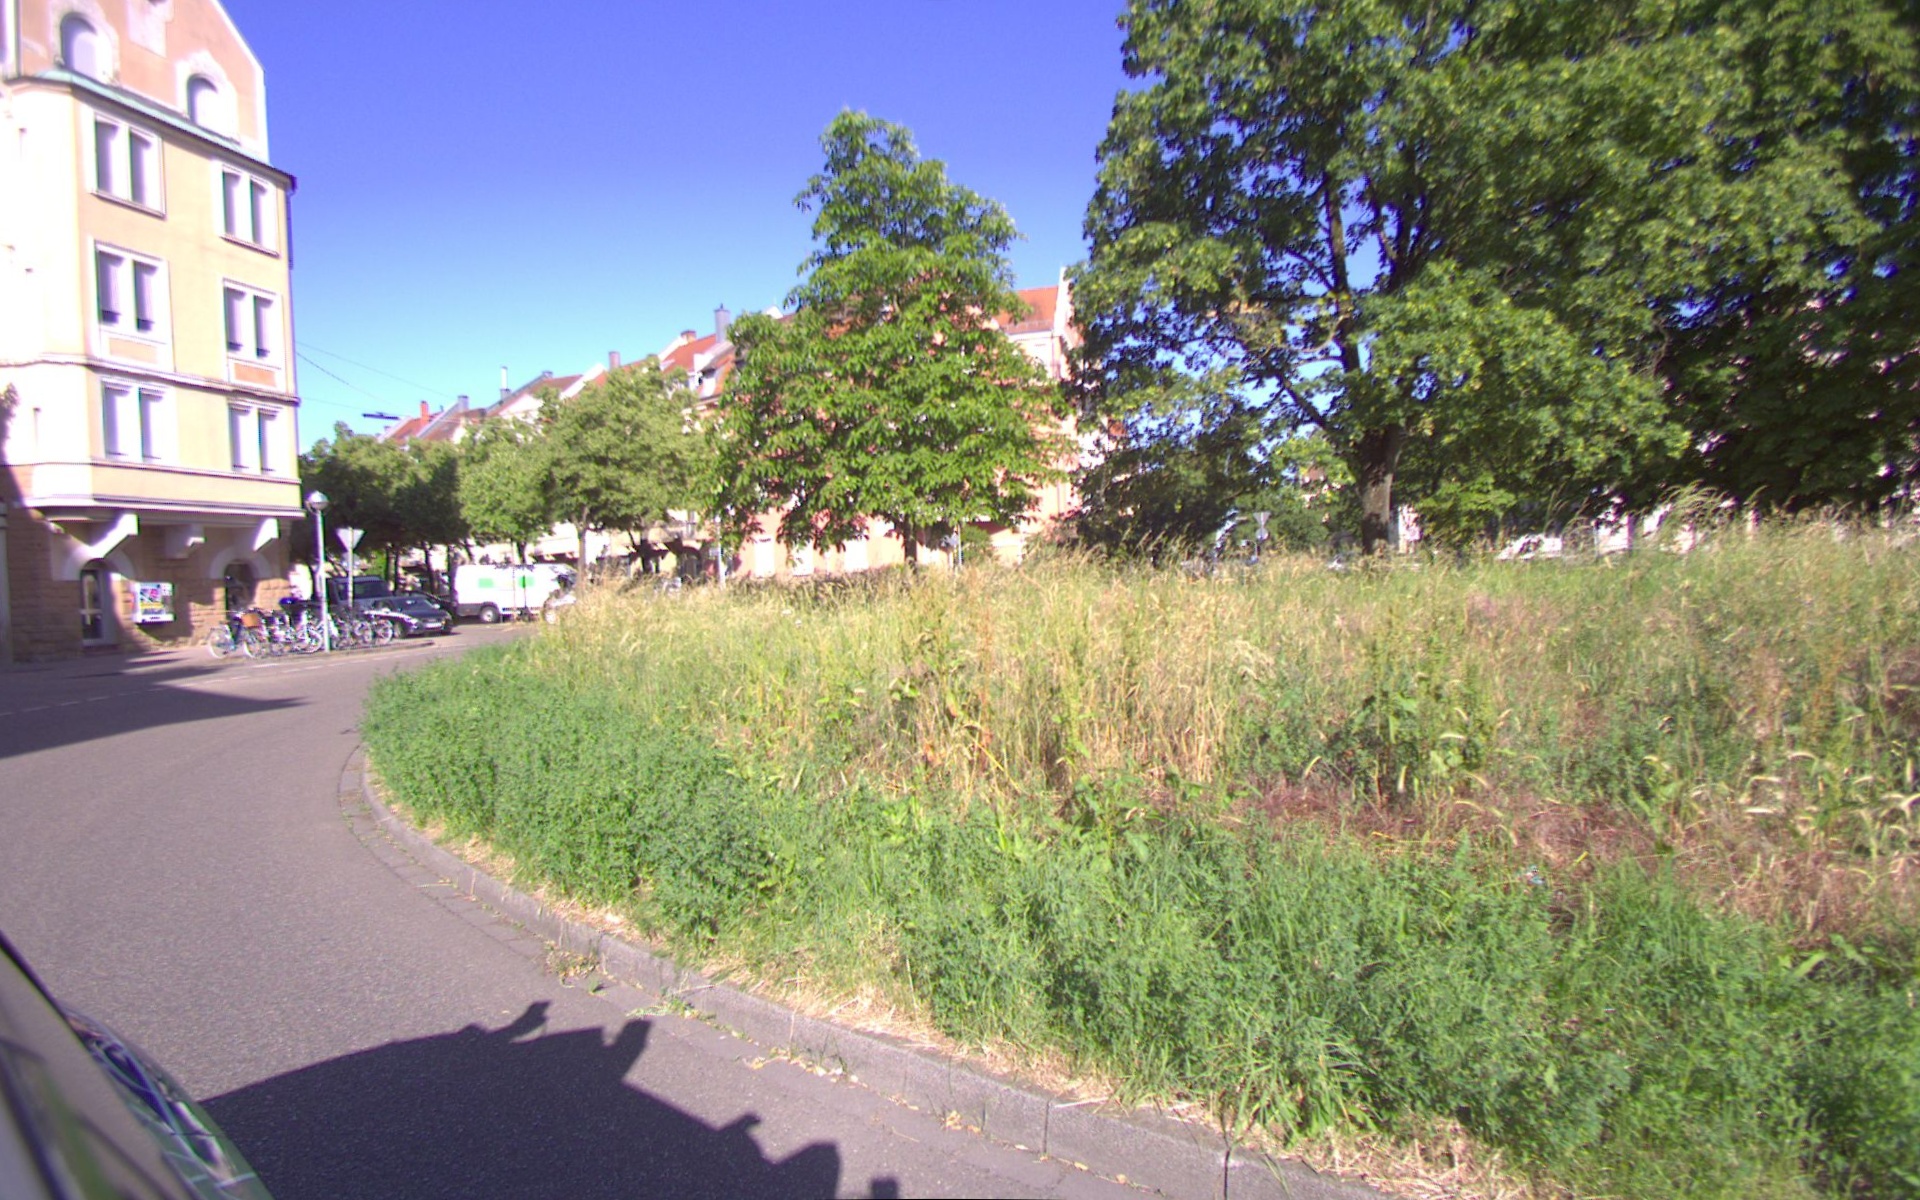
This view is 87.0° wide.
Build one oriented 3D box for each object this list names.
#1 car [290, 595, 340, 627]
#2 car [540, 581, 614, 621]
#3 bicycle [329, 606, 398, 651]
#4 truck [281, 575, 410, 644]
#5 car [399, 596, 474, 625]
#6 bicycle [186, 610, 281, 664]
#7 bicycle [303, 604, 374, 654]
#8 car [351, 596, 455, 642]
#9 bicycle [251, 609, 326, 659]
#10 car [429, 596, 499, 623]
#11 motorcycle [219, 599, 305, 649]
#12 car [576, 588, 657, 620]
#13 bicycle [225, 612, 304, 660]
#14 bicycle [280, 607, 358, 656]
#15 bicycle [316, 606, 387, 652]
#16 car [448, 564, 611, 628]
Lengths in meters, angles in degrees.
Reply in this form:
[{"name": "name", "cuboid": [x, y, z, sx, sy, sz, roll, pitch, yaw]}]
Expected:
[{"name": "car", "cuboid": [-59.668, 1.027, 93.585, 4.859, 2.867, 2.400, -1, 0, 38]}, {"name": "car", "cuboid": [-18.850, 0.039, 49.994, 3.326, 1.879, 1.693, -1, 0, -19]}, {"name": "bicycle", "cuboid": [-15.965, 0.756, 27.088, 1.702, 1.132, 0.481, -2, 1, 15]}, {"name": "truck", "cuboid": [-23.325, 0.372, 38.267, 6.616, 2.309, 2.111, -1, 2, 41]}, {"name": "car", "cuboid": [-29.056, 0.588, 56.241, 3.329, 1.481, 1.692, -1, 0, -10]}, {"name": "bicycle", "cuboid": [-16.820, 0.848, 23.444, 1.850, 1.138, 0.696, -3, 2, 14]}, {"name": "bicycle", "cuboid": [-16.080, 0.750, 26.174, 1.679, 1.200, 0.450, -2, 1, 12]}, {"name": "car", "cuboid": [-19.048, 0.660, 34.546, 3.917, 1.400, 1.667, -1, 2, 39]}, {"name": "bicycle", "cuboid": [-16.451, 0.823, 24.798, 1.684, 1.154, 0.634, -2, 1, 20]}, {"name": "car", "cuboid": [-28.989, 0.539, 59.252, 3.329, 1.481, 1.692, -1, 0, -10]}, {"name": "motorcycle", "cuboid": [-20.663, 0.679, 30.016, 0.693, 1.422, 2.243, -1, 0, 11]}, {"name": "car", "cuboid": [-16.435, 0.190, 48.509, 3.327, 1.457, 1.692, -1, 0, -34]}, {"name": "bicycle", "cuboid": [-16.636, 0.863, 24.199, 1.865, 1.098, 0.532, -2, 1, 20]}, {"name": "bicycle", "cuboid": [-16.202, 0.792, 25.604, 1.679, 1.154, 0.614, -2, 1, 12]}, {"name": "bicycle", "cuboid": [-15.996, 0.768, 26.595, 1.679, 1.132, 0.481, -2, 1, 12]}, {"name": "car", "cuboid": [-19.016, -0.191, 44.979, 6.276, 2.620, 2.107, -1, 0, -7]}]
